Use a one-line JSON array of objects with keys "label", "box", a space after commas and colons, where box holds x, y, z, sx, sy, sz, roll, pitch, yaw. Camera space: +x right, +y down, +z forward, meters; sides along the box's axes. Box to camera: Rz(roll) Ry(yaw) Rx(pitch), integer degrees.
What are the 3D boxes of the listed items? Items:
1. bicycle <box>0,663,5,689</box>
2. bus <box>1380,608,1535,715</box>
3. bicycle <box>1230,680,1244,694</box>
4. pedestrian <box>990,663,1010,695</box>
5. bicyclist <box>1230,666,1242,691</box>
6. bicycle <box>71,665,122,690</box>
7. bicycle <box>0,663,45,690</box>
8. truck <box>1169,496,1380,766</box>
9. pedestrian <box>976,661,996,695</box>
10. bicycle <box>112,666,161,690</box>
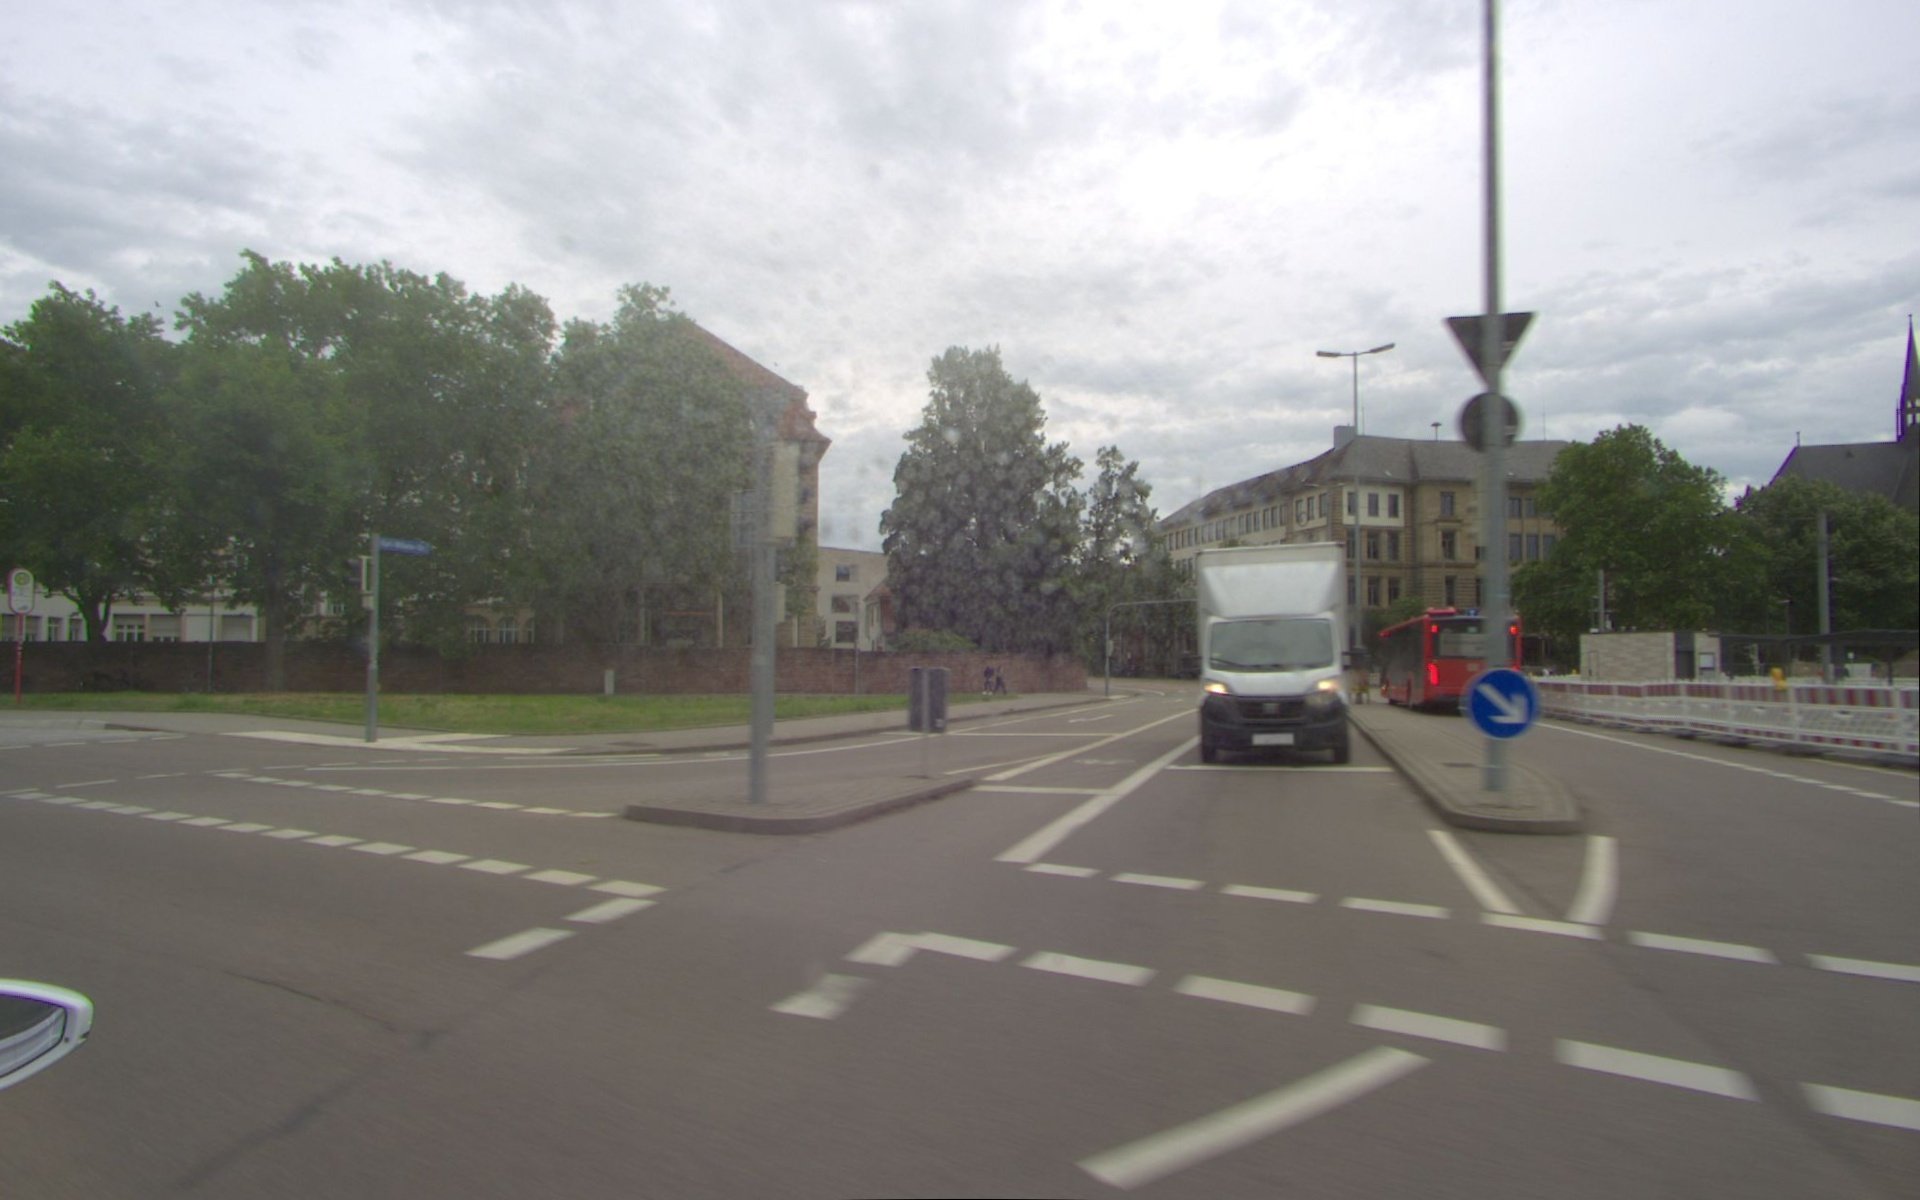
[{"label": "bicycle", "box": [-43.051, 3.352, 43.936, 1.680, 1.150, 0.596, 0, -1, -4]}, {"label": "bus", "box": [16.227, 2.110, 33.644, 2.885, 2.943, 12.089, -1, -4, 18]}, {"label": "bicycle", "box": [17.446, 5.475, 63.165, 0.590, 0.830, 1.821, 0, -2, 7]}, {"label": "pedestrian", "box": [2.082, 4.111, 52.069, 0.683, 1.658, 0.868, -1, -3, 36]}, {"label": "bicyclist", "box": [17.412, 4.924, 63.158, 0.590, 1.541, 0.782, 0, -1, 7]}, {"label": "bicycle", "box": [-37.987, 3.406, 44.053, 1.680, 1.073, 0.596, 0, -1, -4]}, {"label": "bicycle", "box": [-41.348, 3.353, 43.970, 1.680, 1.144, 0.596, 0, -1, -4]}, {"label": "truck", "box": [5.064, 0.698, 16.432, 2.515, 3.451, 6.853, -2, -5, 17]}, {"label": "pedestrian", "box": [1.389, 4.171, 53.819, 0.750, 1.757, 0.816, -1, -2, 44]}, {"label": "bicycle", "box": [-36.296, 3.427, 44.144, 1.606, 1.004, 0.551, 0, -1, -7]}]
